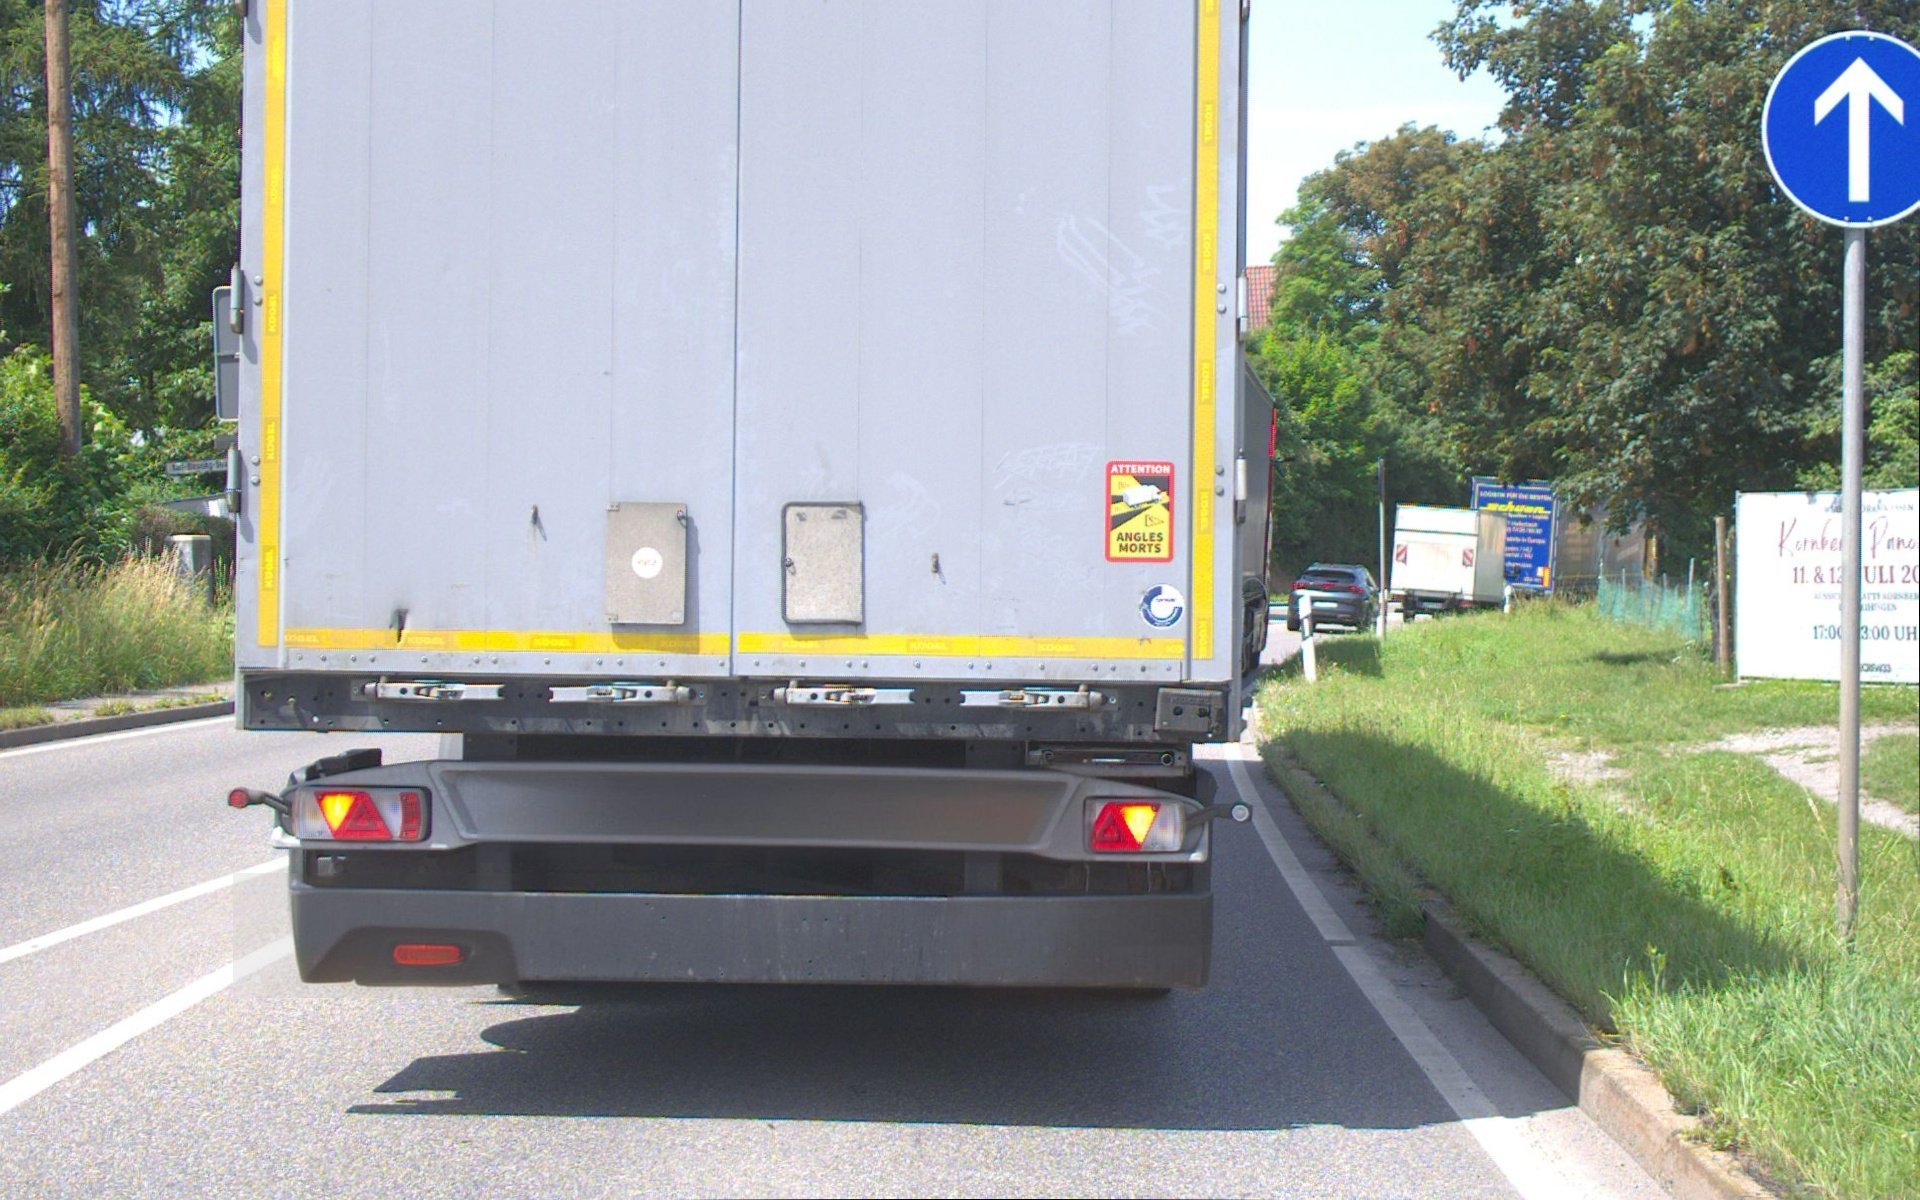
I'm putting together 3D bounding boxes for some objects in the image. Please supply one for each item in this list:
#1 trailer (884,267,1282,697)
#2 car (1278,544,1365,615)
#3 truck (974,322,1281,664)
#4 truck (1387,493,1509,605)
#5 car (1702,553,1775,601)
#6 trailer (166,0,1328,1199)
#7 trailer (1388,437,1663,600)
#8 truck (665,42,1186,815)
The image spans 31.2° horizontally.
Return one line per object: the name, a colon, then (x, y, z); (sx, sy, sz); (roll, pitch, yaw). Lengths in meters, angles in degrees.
trailer: (1.873, -1.347, 42.625); (3.892, 4.505, 12.710); (0, 1, 7)
car: (8.034, -0.467, 76.435); (1.841, 1.481, 3.999); (1, 2, 6)
truck: (2.560, -1.491, 49.598); (3.938, 4.559, 7.150); (0, 1, 7)
truck: (12.742, -1.363, 89.509); (2.422, 2.828, 5.408); (1, 2, 16)
car: (28.929, -0.866, 127.706); (1.996, 1.678, 3.995); (1, 2, 23)
trailer: (-0.319, -0.829, 14.317); (2.787, 4.191, 12.111); (1, 2, 2)
trailer: (17.635, -2.514, 105.651); (5.185, 4.612, 15.879); (1, 2, 21)
truck: (0.003, -1.012, 21.650); (2.746, 4.151, 6.142); (1, 2, 4)
